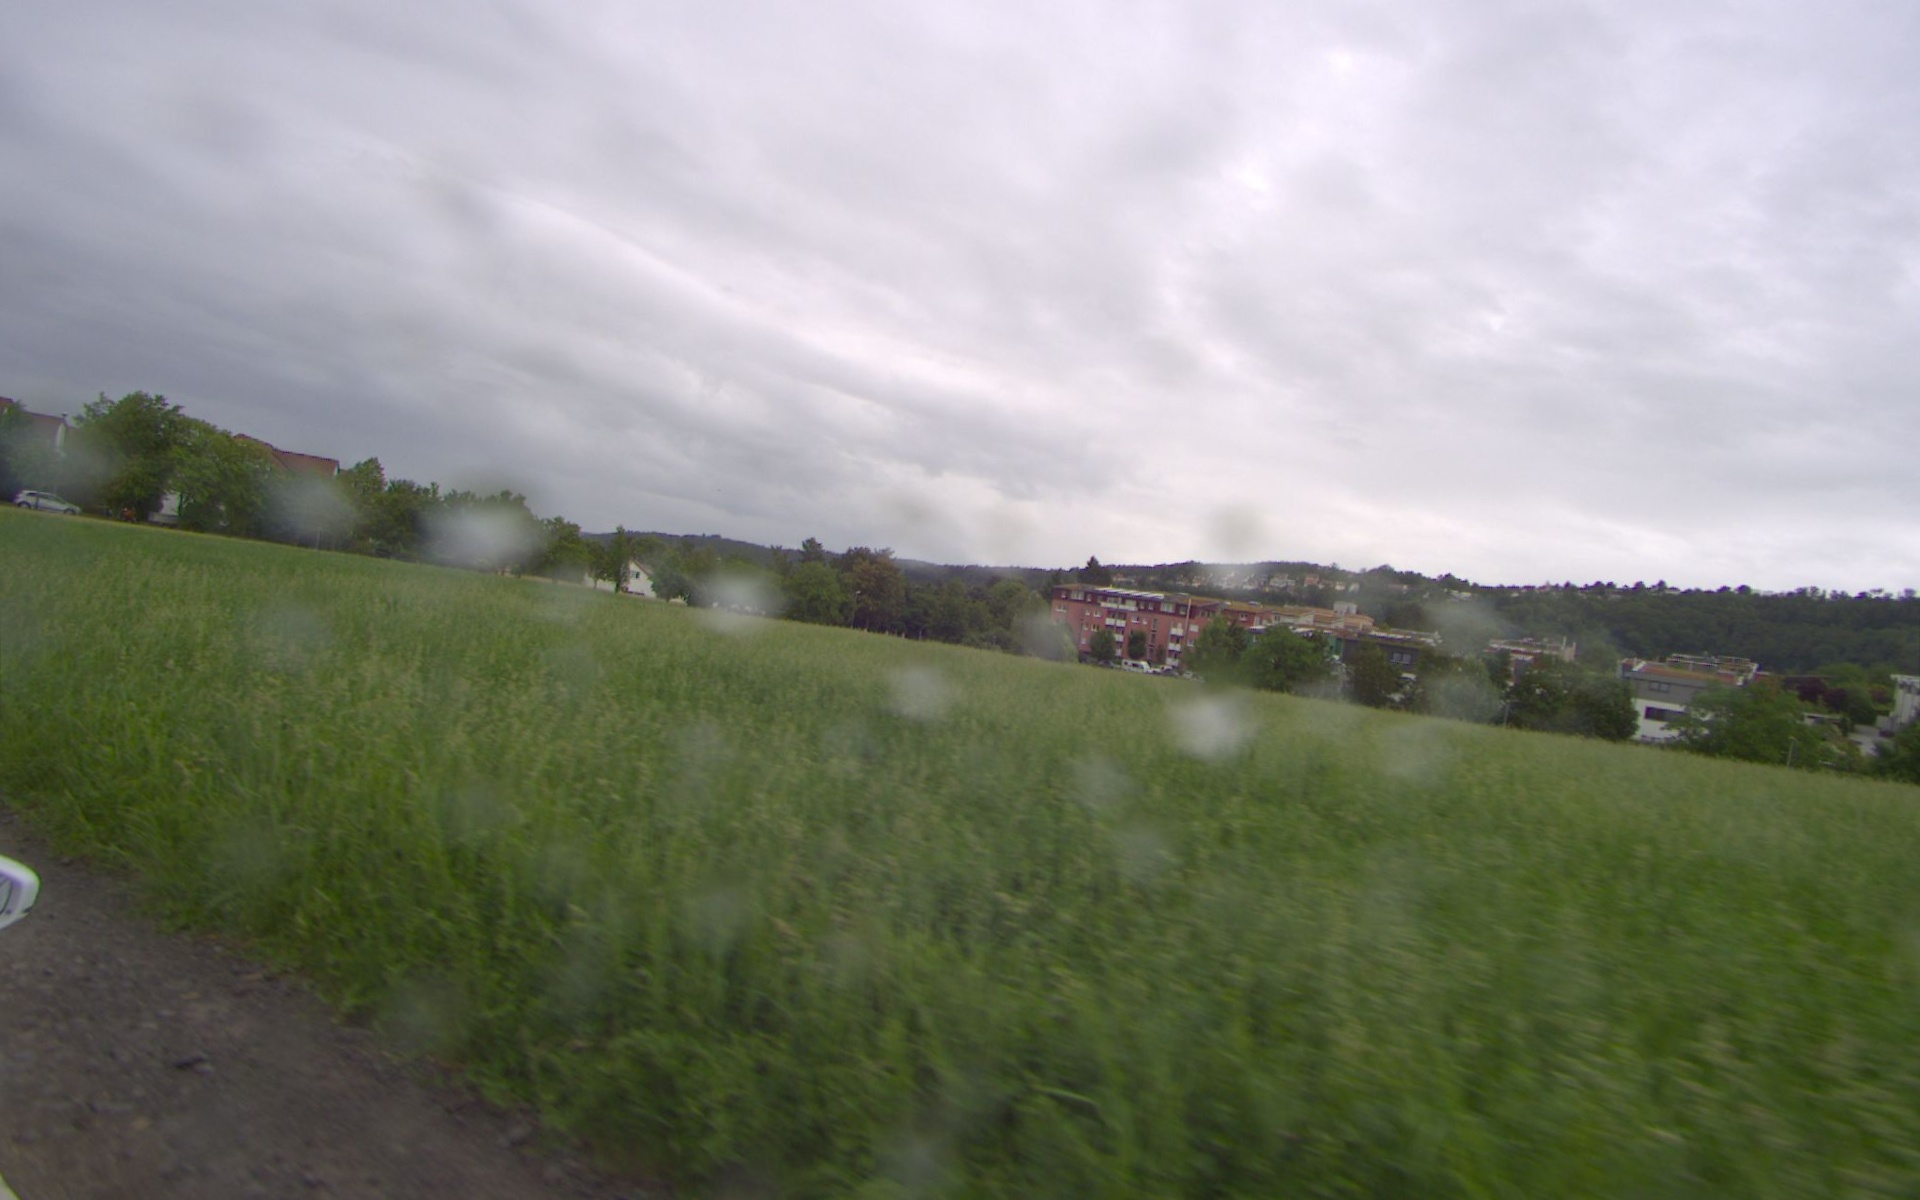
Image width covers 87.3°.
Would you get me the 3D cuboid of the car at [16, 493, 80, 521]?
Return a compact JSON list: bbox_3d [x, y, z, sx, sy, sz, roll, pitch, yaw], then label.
[{"bbox_3d":[-74.031,-7.537,81.677,1.590,1.582,3.701,5,-2,45],"label":"car"}]
